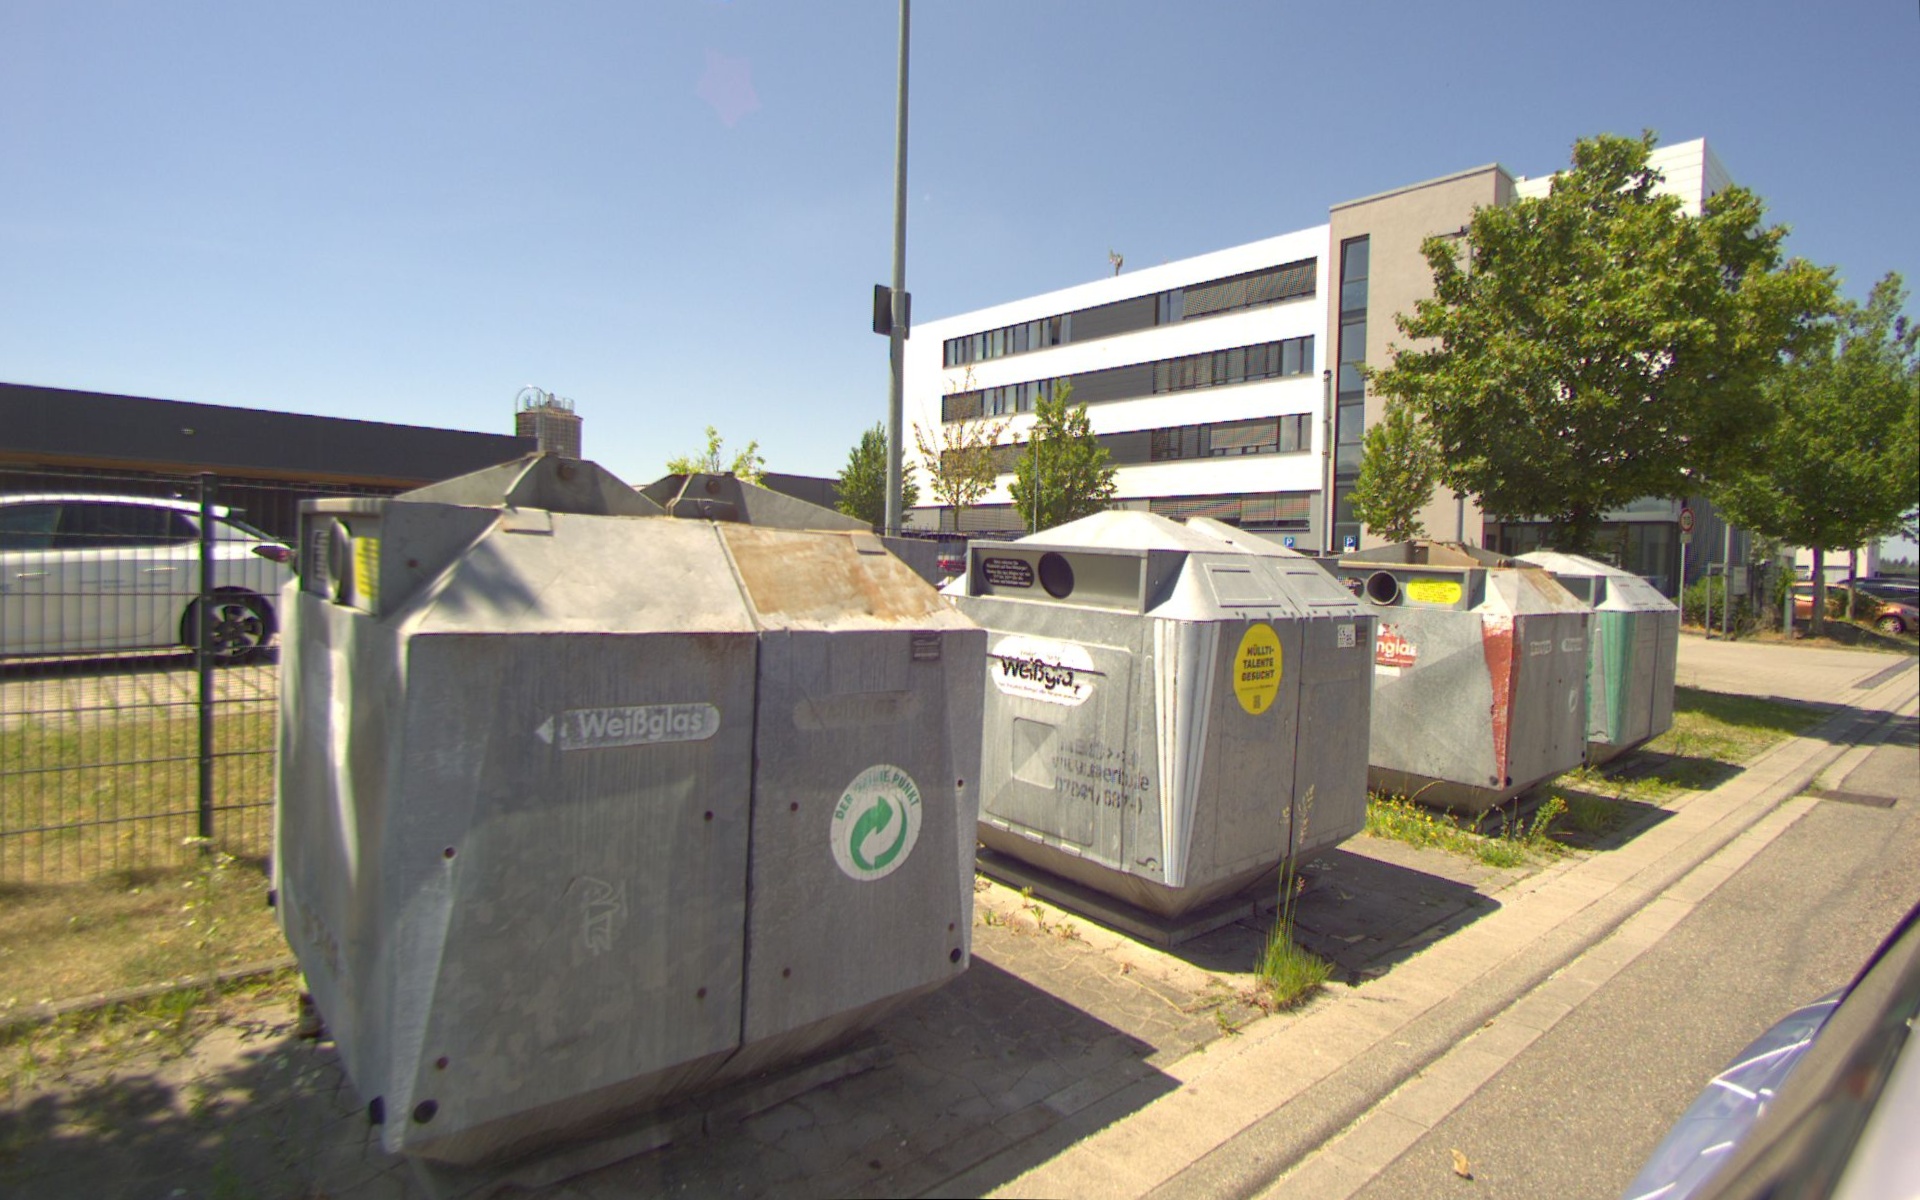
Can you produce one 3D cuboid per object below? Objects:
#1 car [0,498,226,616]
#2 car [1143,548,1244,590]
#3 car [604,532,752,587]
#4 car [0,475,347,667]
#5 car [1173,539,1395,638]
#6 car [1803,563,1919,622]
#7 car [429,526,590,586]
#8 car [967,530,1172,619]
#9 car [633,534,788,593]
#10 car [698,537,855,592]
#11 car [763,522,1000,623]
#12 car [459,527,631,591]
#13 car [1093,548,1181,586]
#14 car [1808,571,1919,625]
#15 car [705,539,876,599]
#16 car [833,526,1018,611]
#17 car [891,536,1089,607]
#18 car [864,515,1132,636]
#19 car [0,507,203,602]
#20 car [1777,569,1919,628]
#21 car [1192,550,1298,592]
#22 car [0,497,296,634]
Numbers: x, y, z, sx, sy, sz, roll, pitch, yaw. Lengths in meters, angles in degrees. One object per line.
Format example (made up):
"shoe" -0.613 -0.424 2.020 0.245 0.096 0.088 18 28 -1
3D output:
"car" -12.492 -0.593 13.603 4.034 1.479 1.791 -3 5 -44
"car" 9.376 -1.264 40.479 4.149 1.547 1.810 -2 4 -40
"car" -9.508 -1.422 34.359 4.459 1.735 1.913 -3 5 -44
"car" -7.681 -0.269 8.452 4.076 1.449 1.791 -3 5 -44
"car" 5.638 -0.301 17.321 4.339 1.472 1.791 -3 5 -44
"car" 30.677 -0.250 33.463 1.693 1.787 3.998 0 4 -39
"car" -13.528 -1.296 30.504 4.009 1.604 1.913 1 2 -44
"car" 2.415 -0.620 21.406 4.576 1.673 1.841 -3 5 -44
"car" -7.852 -1.208 32.112 4.459 1.735 1.913 -3 5 -44
"car" -5.531 -1.128 30.869 4.444 1.551 1.913 -3 5 -44
"car" -1.275 -0.432 17.662 3.956 1.510 1.647 2 1 -45
"car" -11.559 -1.116 28.319 4.009 1.604 1.913 1 2 -44
"car" 7.472 -1.411 42.522 3.719 1.513 1.618 -2 4 -40
"car" 28.862 -0.068 31.370 1.753 1.513 3.717 -1 4 -43
"car" -4.645 -0.928 28.218 4.444 1.551 1.913 -3 5 -44
"car" -0.779 -0.841 24.933 4.444 1.922 1.913 -3 5 -44
"car" 0.768 -0.718 22.966 4.576 1.450 1.841 -3 5 -44
"car" 0.702 -0.326 15.937 4.171 1.643 1.791 2 1 -44
"car" -17.152 -0.890 19.376 4.034 1.702 1.791 -3 5 -44
"car" 26.730 -0.060 29.760 1.696 1.513 3.993 0 4 -43
"car" 10.836 -1.133 38.365 4.149 1.478 1.810 -2 4 -40
"car" -10.527 -0.444 12.122 4.034 1.479 1.791 -3 5 -44
